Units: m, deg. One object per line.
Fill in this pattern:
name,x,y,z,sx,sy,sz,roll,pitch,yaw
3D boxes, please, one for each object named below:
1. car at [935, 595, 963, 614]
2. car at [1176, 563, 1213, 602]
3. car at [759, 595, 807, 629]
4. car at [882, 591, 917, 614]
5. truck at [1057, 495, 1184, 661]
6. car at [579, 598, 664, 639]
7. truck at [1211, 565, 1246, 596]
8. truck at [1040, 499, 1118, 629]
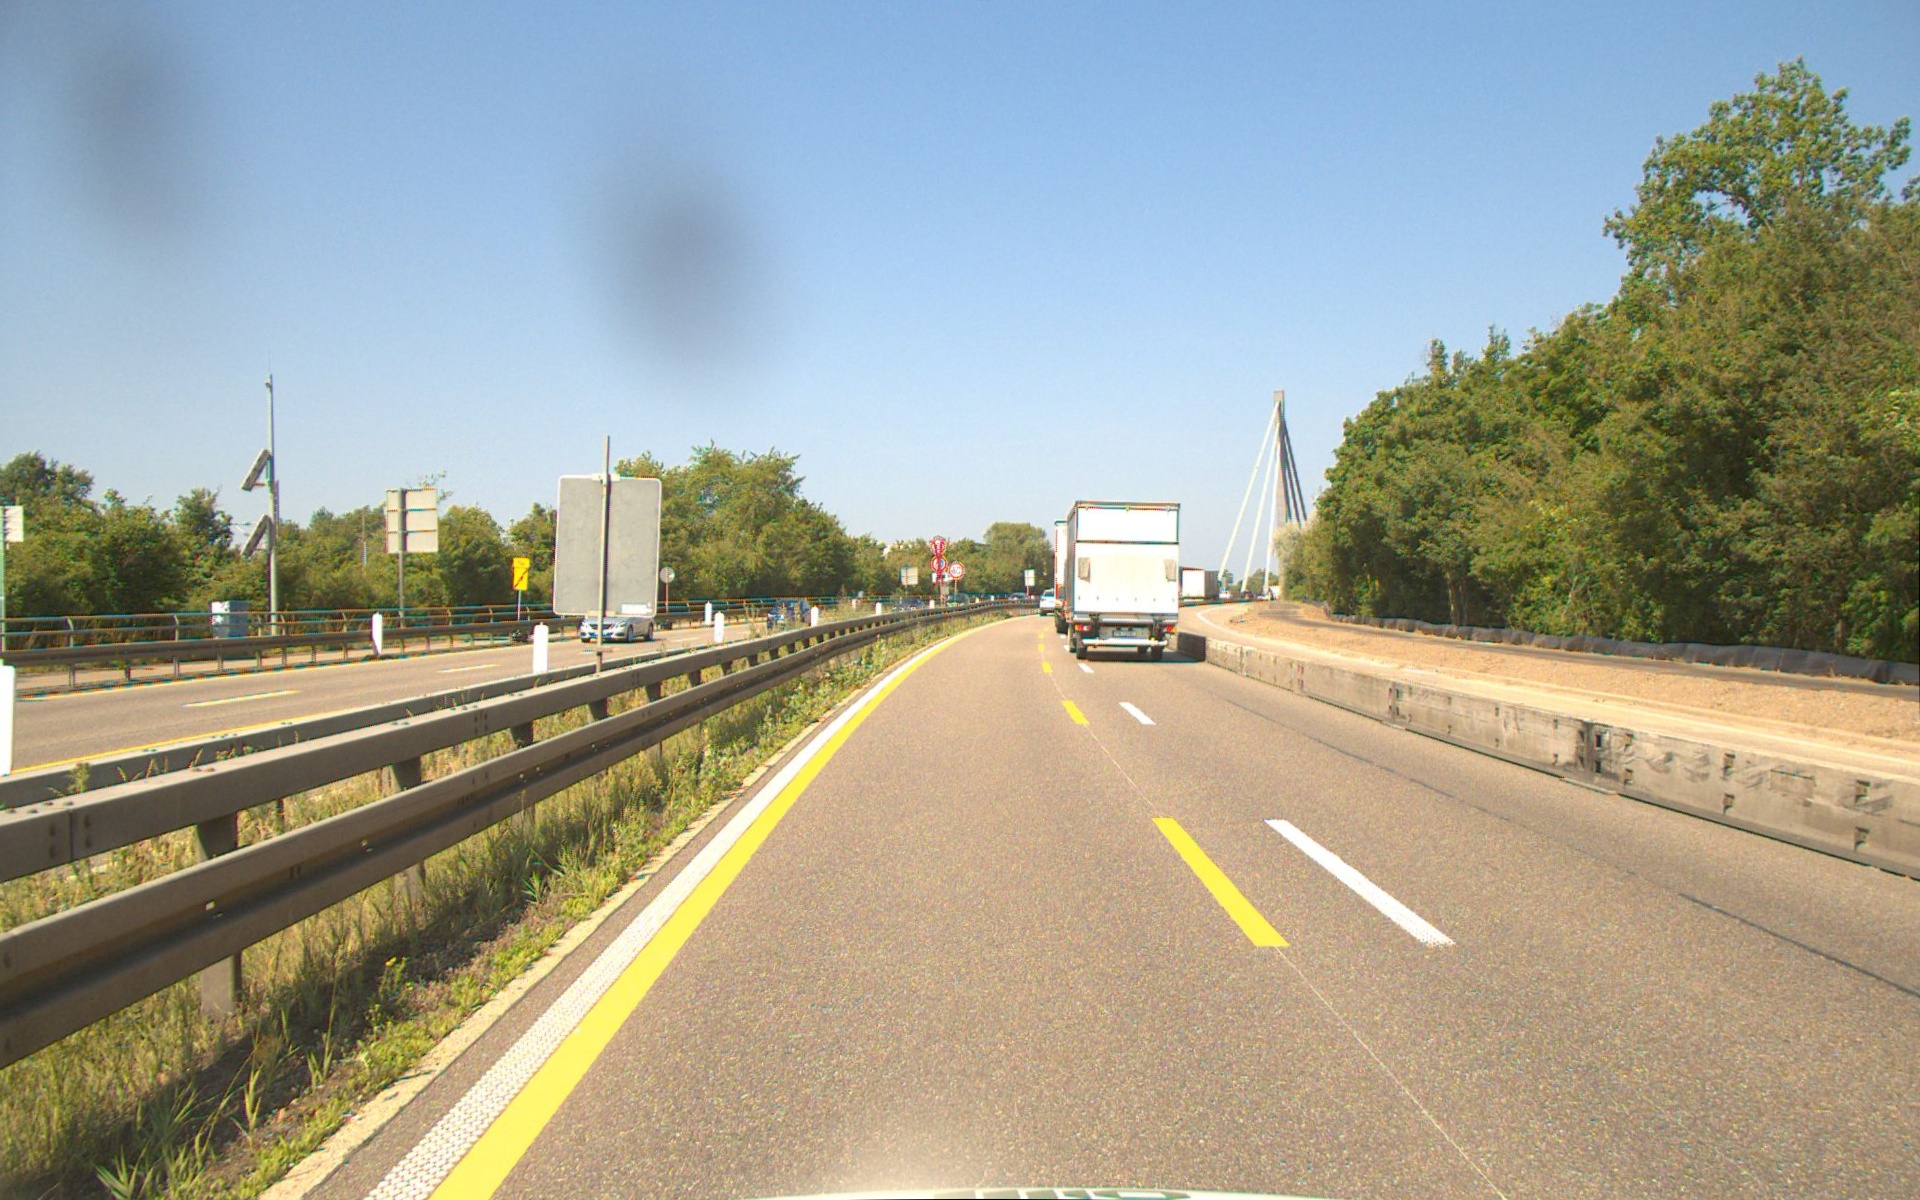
car,-0.974,0.402,150.339,1.951,1.579,4.003,-1,0,7
car,28.086,-2.159,197.691,4.118,4.325,10.671,-2,1,9
car,-8.493,0.559,79.425,1.702,1.524,4.001,-1,0,2
car,-4.249,0.144,116.564,1.951,1.579,4.002,-1,0,4
truck,3.625,-0.494,38.741,2.579,3.487,7.236,1,0,3
car,-12.677,0.676,62.287,1.845,1.445,4.862,-1,0,4
truck,40.293,-2.910,248.014,4.130,4.340,10.250,-2,1,15
truck,4.369,-1.284,62.015,2.579,4.547,7.235,1,0,2
